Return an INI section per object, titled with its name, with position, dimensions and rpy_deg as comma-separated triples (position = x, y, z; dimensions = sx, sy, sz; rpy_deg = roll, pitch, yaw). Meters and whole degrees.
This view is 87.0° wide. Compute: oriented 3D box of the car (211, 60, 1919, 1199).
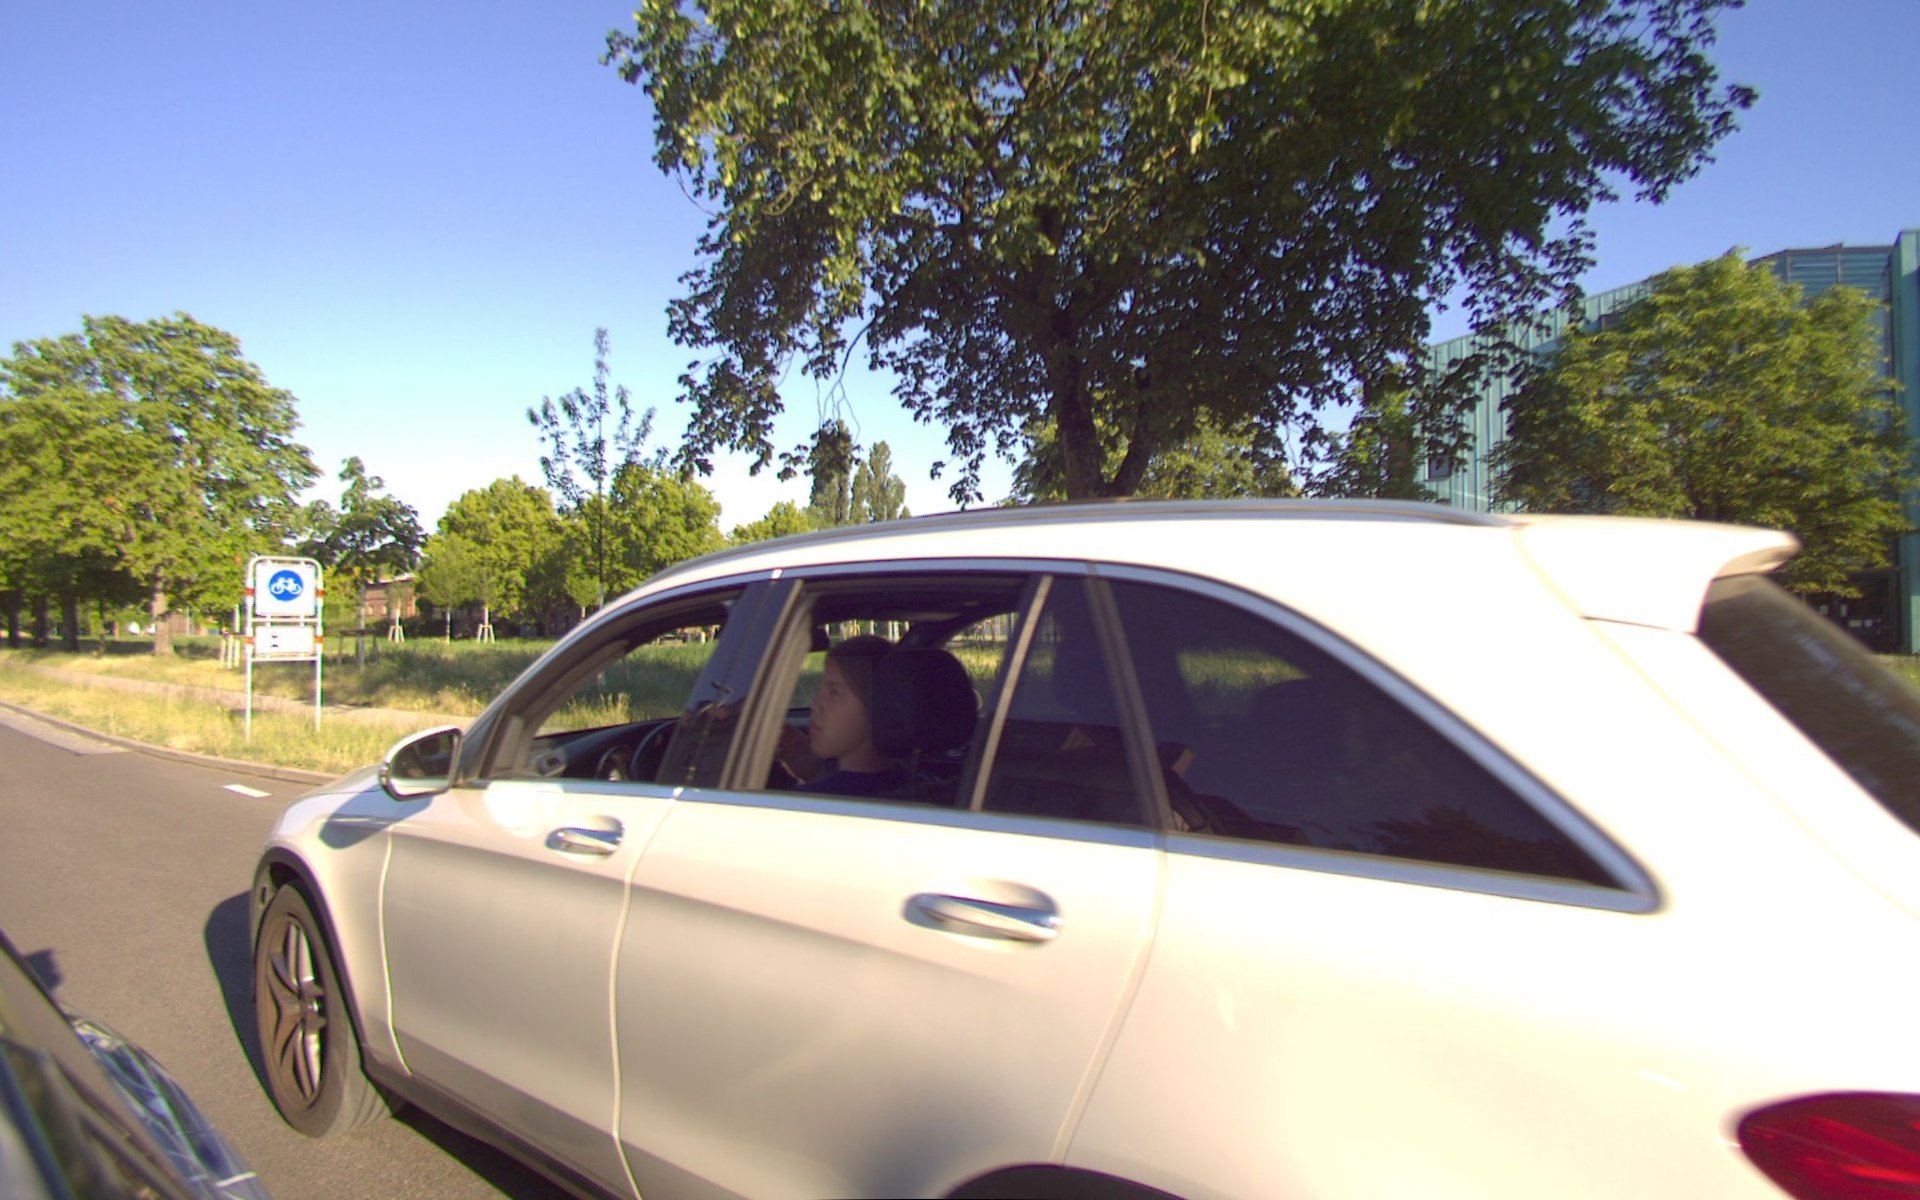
[car]
position = -0.006, 0.507, 2.446
dimensions = 4.420, 1.689, 1.872
rpy_deg = -2, -1, 39
